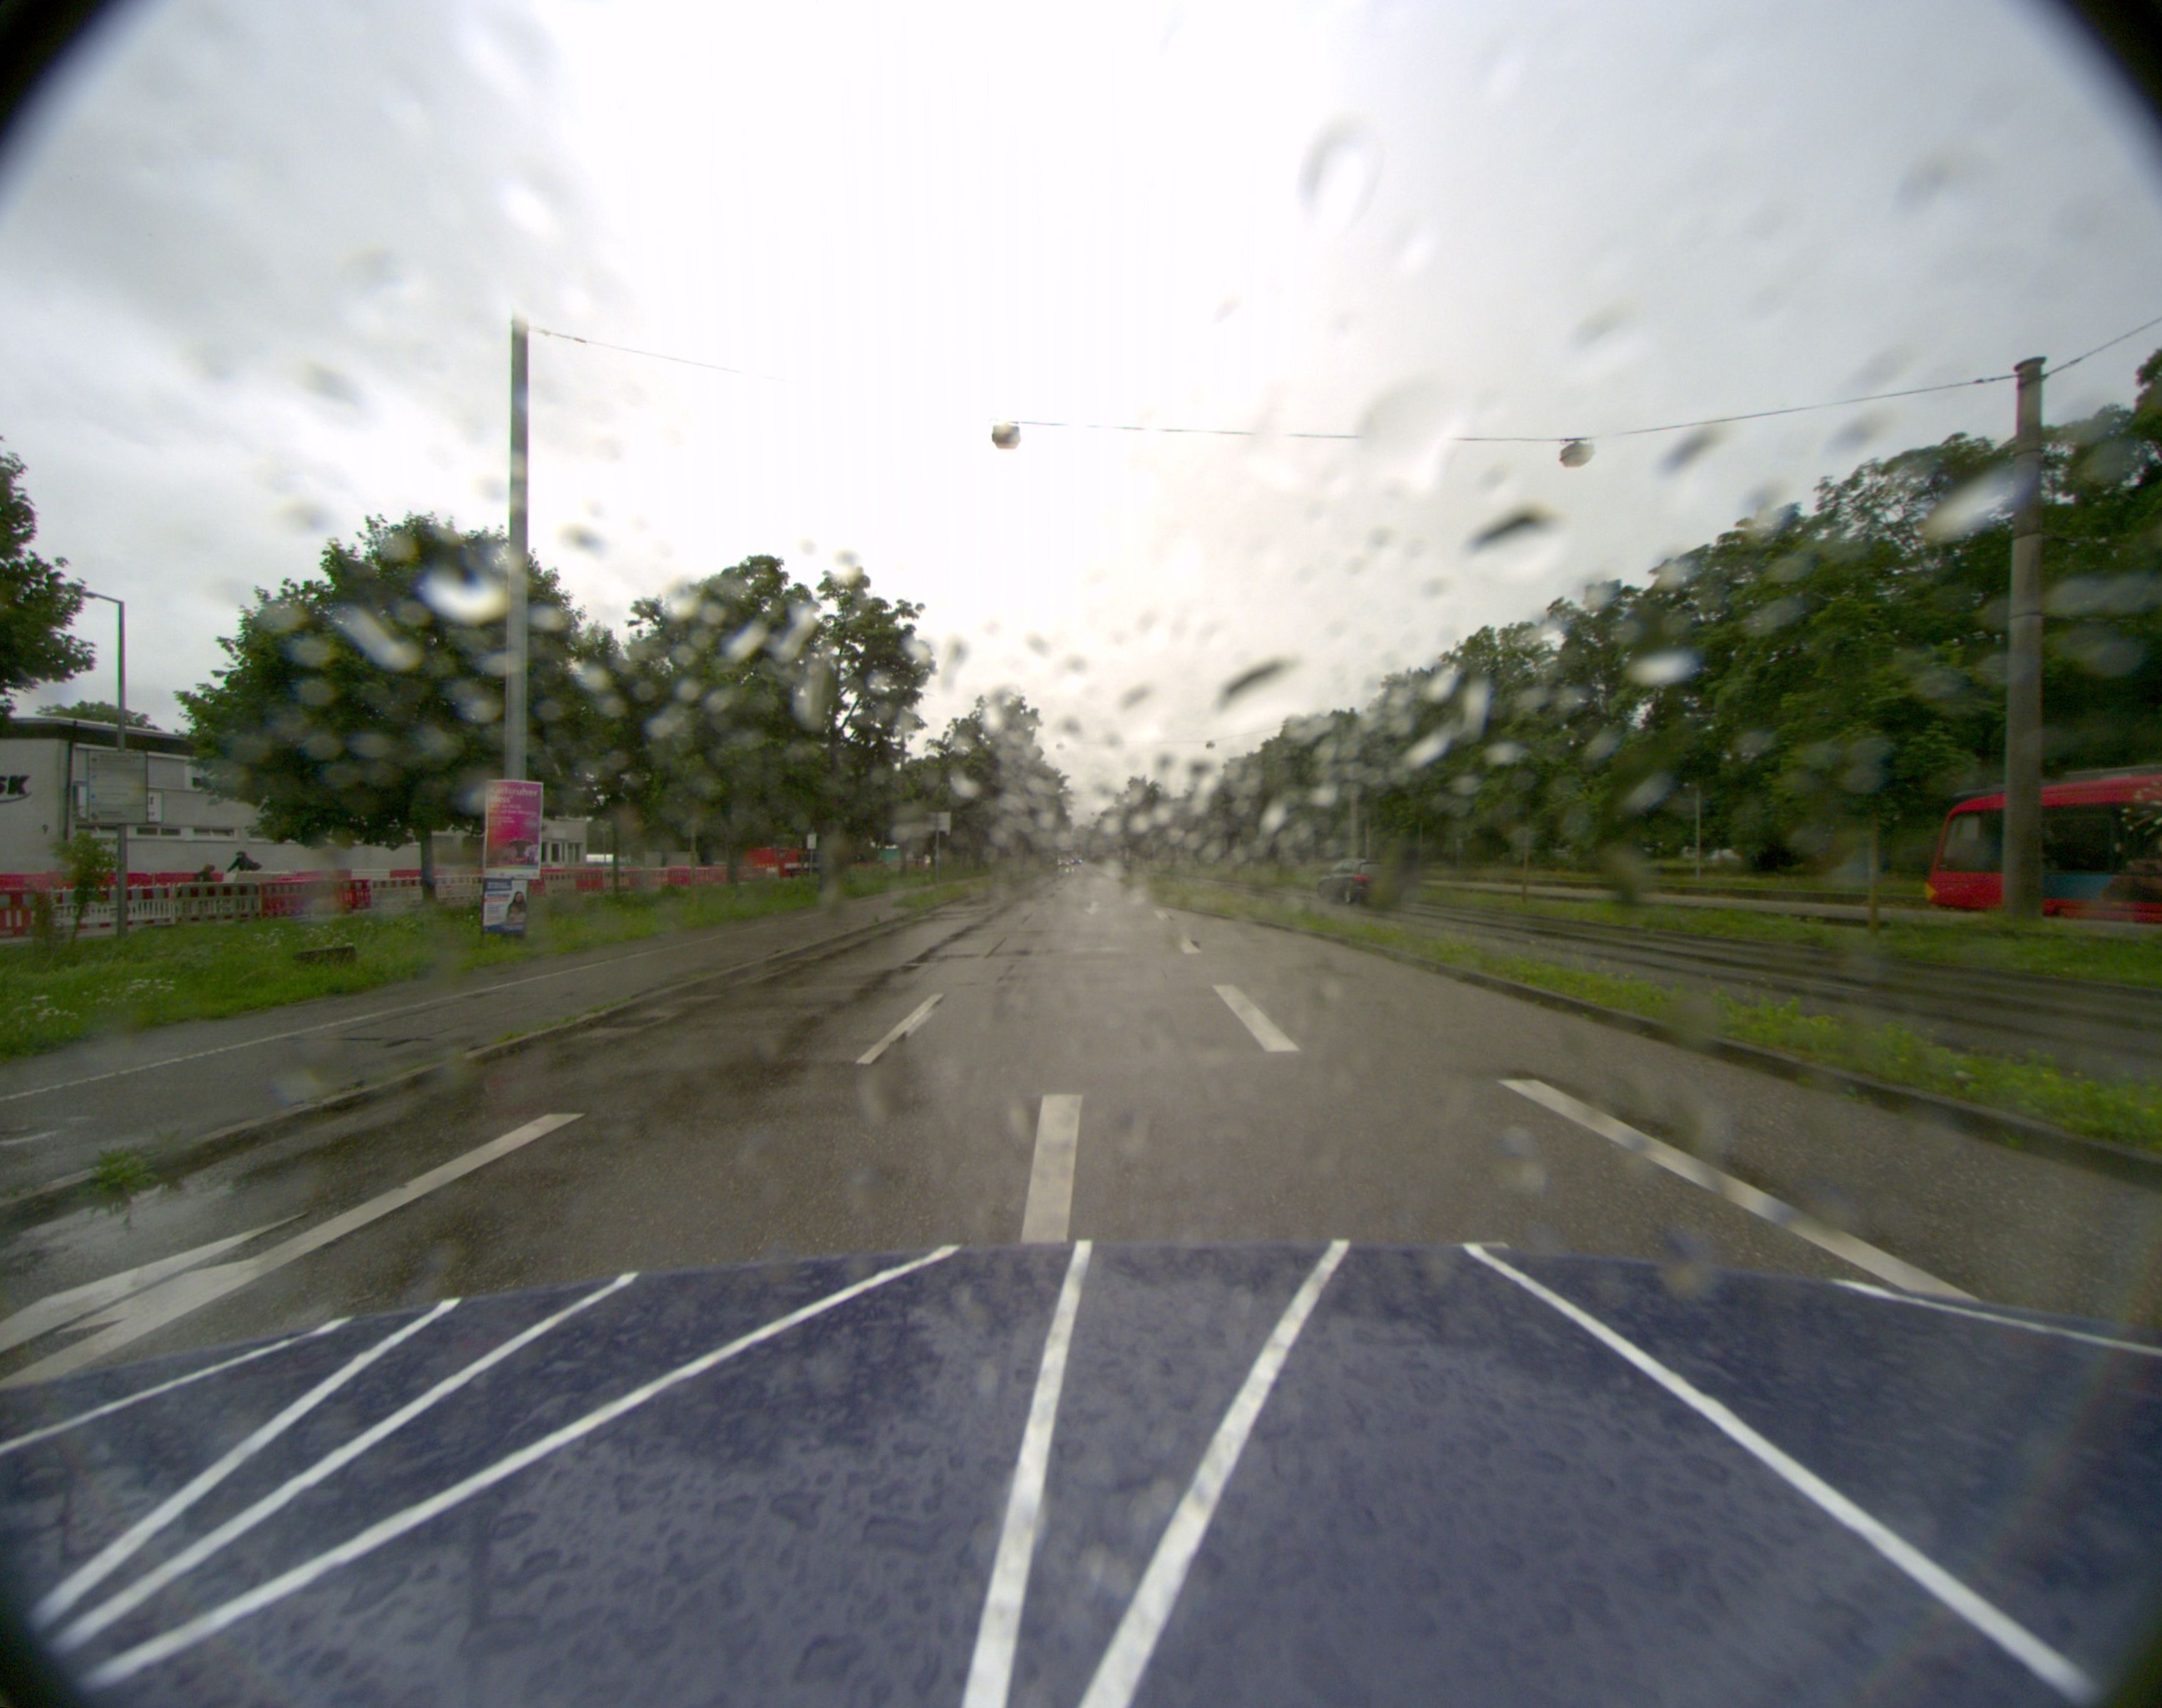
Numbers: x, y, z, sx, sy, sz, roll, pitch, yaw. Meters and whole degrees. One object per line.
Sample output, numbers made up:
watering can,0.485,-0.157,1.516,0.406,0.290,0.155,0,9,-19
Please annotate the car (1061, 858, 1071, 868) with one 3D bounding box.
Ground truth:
car,-2.832,1.692,142.968,1.858,1.583,3.999,-2,1,-2

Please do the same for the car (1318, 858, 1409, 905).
car,9.782,0.908,26.618,1.741,1.428,3.819,-1,1,0

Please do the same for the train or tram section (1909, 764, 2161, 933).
train or tram section,23.539,-0.126,17.072,3.542,3.398,5.769,0,0,0

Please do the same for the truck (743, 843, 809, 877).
truck,-28.700,0.473,71.962,2.811,2.882,8.748,-2,1,-1

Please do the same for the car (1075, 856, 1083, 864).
car,-0.540,1.338,174.579,1.812,1.683,3.776,-2,1,-1

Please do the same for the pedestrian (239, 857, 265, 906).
pedestrian,-31.297,1.018,28.683,0.363,1.831,0.496,-1,1,1
